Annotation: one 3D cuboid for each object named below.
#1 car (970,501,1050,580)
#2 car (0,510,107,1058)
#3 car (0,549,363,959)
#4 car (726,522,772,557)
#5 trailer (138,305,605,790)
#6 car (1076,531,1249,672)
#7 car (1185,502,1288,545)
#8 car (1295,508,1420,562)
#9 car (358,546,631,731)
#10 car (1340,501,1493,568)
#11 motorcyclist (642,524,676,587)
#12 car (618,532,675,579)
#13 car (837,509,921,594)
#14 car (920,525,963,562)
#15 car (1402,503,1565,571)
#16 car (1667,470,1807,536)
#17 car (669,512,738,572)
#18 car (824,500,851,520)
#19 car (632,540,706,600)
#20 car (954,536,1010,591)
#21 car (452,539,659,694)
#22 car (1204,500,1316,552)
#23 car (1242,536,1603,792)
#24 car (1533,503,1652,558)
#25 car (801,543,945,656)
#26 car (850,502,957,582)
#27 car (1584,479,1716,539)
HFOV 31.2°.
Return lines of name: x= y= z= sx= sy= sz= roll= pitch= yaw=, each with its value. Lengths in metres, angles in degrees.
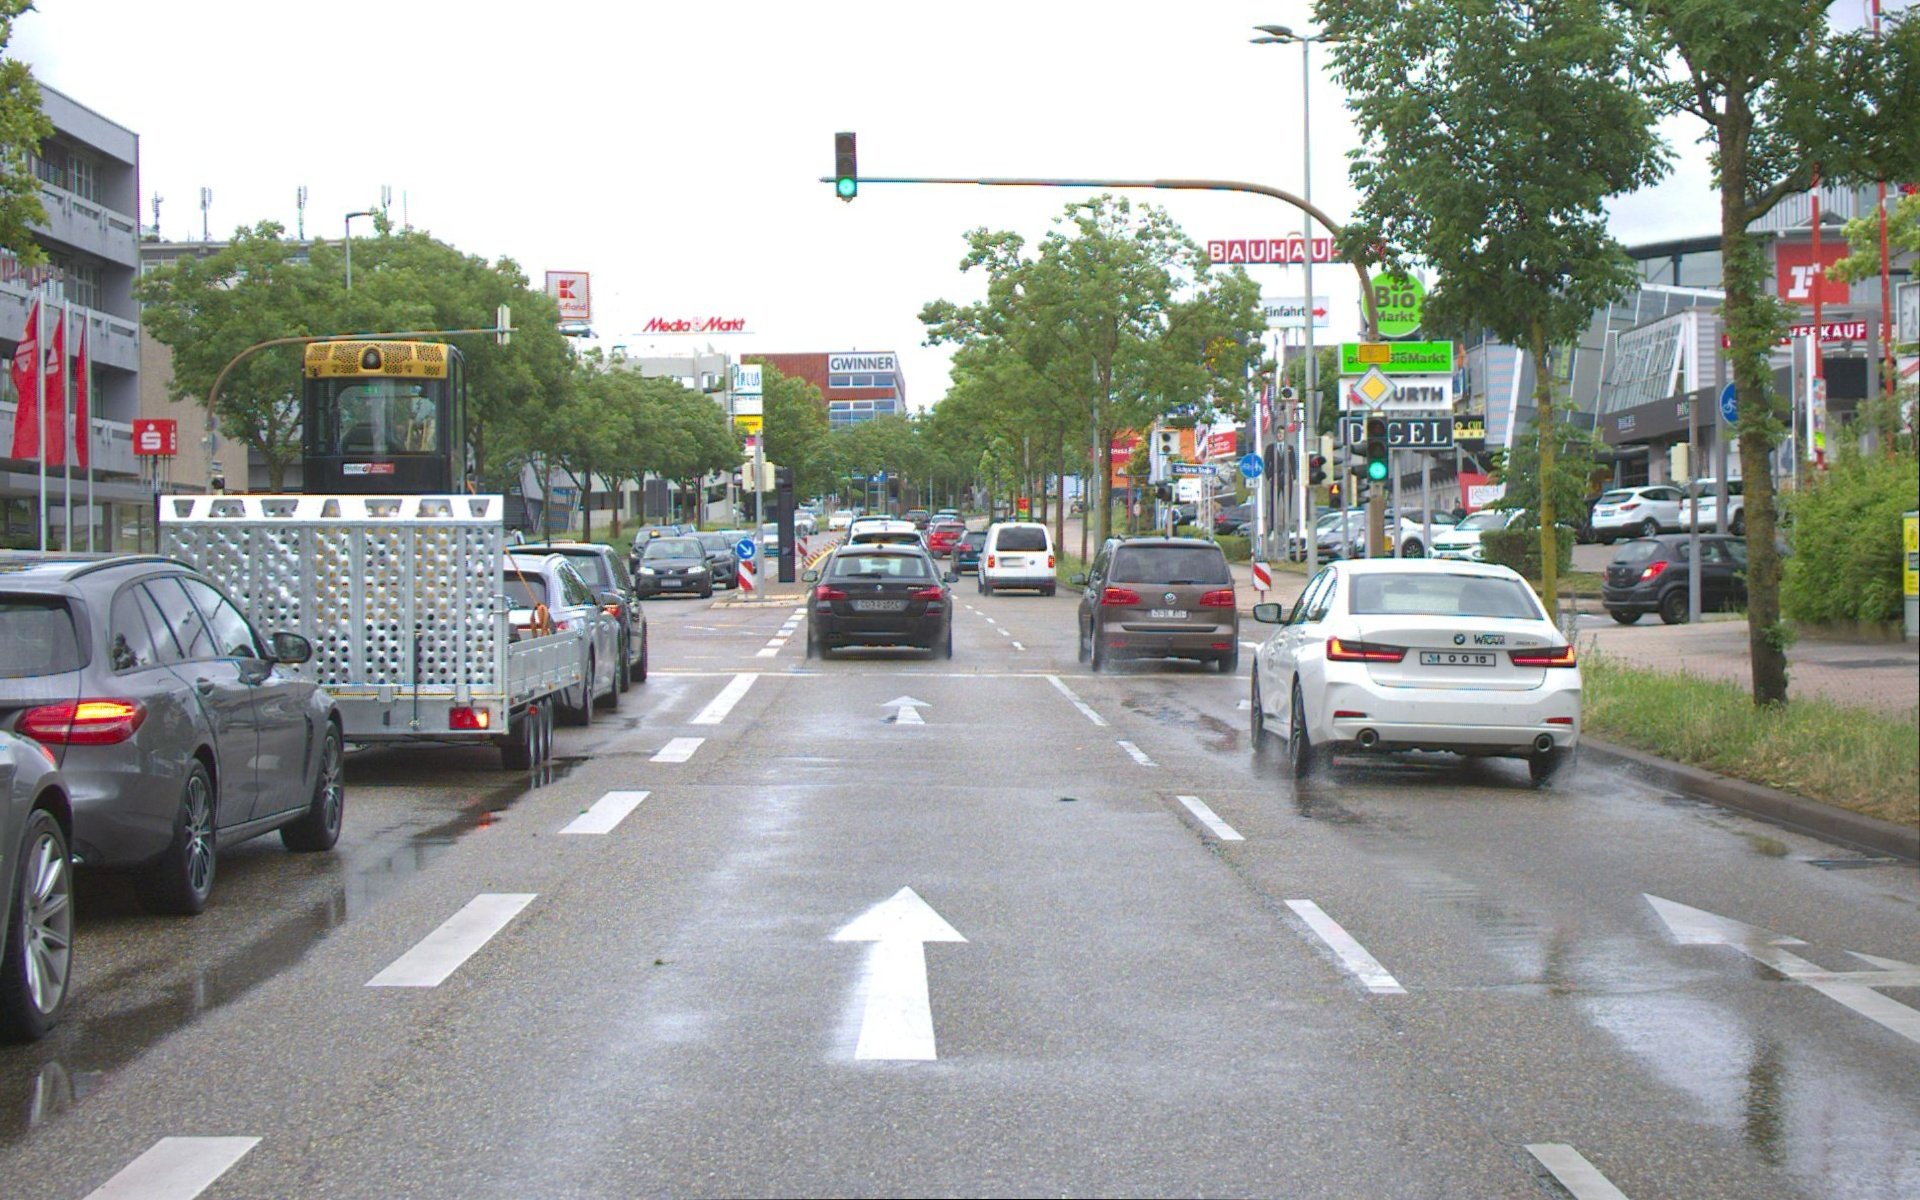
car: x=1.209 y=-1.466 z=84.890 sx=1.781 sy=1.860 sz=4.000 roll=-1 pitch=1 yaw=-1
car: x=-3.711 y=0.564 z=8.676 sx=1.907 sy=1.573 sz=4.881 roll=-1 pitch=1 yaw=0
car: x=-4.001 y=0.557 z=14.825 sx=1.993 sy=1.424 sz=4.554 roll=-2 pitch=2 yaw=0
car: x=-9.032 y=-2.582 z=147.709 sx=1.723 sy=1.393 sz=4.790 roll=-3 pitch=1 yaw=-1
trailer: x=-3.840 y=-0.355 z=23.554 sx=2.372 sy=2.887 sz=5.546 roll=-1 pitch=1 yaw=-2
car: x=2.410 y=-0.024 z=41.859 sx=1.801 sy=1.581 sz=4.451 roll=1 pitch=1 yaw=0
car: x=11.131 y=-3.094 z=138.513 sx=4.111 sy=1.697 sz=1.799 roll=0 pitch=1 yaw=5
car: x=11.770 y=-1.932 z=101.618 sx=3.588 sy=1.530 sz=1.643 roll=-2 pitch=1 yaw=-40
car: x=-3.950 y=0.270 z=29.890 sx=1.765 sy=1.453 sz=4.781 roll=-1 pitch=1 yaw=-1
car: x=12.740 y=-1.837 z=95.877 sx=4.016 sy=1.657 sz=1.982 roll=-4 pitch=3 yaw=-40
motorcyclist: x=-7.539 y=-1.128 z=86.142 sx=0.806 sy=1.554 sz=1.268 roll=0 pitch=1 yaw=-3
car: x=-11.035 y=-1.571 z=121.287 sx=1.910 sy=1.603 sz=4.364 roll=-1 pitch=1 yaw=-4
car: x=-1.965 y=-1.170 z=84.294 sx=1.993 sy=2.007 sz=4.000 roll=1 pitch=0 yaw=-1
car: x=-0.729 y=-2.242 z=137.590 sx=1.695 sy=1.438 sz=3.989 roll=-1 pitch=1 yaw=0
car: x=12.814 y=-1.551 z=83.918 sx=1.930 sy=1.571 sz=4.278 roll=0 pitch=2 yaw=41
car: x=21.514 y=-2.693 z=95.127 sx=4.143 sy=1.765 sz=1.737 roll=-2 pitch=1 yaw=-44
car: x=-6.756 y=-1.517 z=90.438 sx=1.744 sy=1.484 sz=4.829 roll=-1 pitch=0 yaw=-4
car: x=-8.813 y=-6.460 z=246.868 sx=1.943 sy=1.443 sz=4.000 roll=0 pitch=1 yaw=-2
car: x=-6.876 y=-0.730 z=81.543 sx=1.682 sy=1.372 sz=4.001 roll=-1 pitch=1 yaw=-4
car: x=0.680 y=-1.141 z=108.314 sx=1.685 sy=1.678 sz=3.403 roll=1 pitch=0 yaw=0
car: x=-4.158 y=0.127 z=35.843 sx=1.713 sy=1.484 sz=4.078 roll=-1 pitch=1 yaw=-1
car: x=11.437 y=-2.828 z=131.109 sx=4.111 sy=1.898 sz=1.800 roll=-1 pitch=1 yaw=1
car: x=3.039 y=0.363 z=23.508 sx=1.801 sy=1.539 sz=4.620 roll=1 pitch=1 yaw=0
car: x=20.512 y=-2.245 z=111.479 sx=3.964 sy=1.714 sz=1.633 roll=-2 pitch=1 yaw=-40
car: x=-1.126 y=-0.036 z=44.642 sx=1.781 sy=1.393 sz=4.000 roll=0 pitch=1 yaw=-1
car: x=-1.045 y=-1.043 z=61.655 sx=1.682 sy=1.372 sz=4.001 roll=-1 pitch=1 yaw=-4
car: x=21.042 y=-2.772 z=104.797 sx=4.142 sy=1.765 sz=1.737 roll=-2 pitch=1 yaw=-40
